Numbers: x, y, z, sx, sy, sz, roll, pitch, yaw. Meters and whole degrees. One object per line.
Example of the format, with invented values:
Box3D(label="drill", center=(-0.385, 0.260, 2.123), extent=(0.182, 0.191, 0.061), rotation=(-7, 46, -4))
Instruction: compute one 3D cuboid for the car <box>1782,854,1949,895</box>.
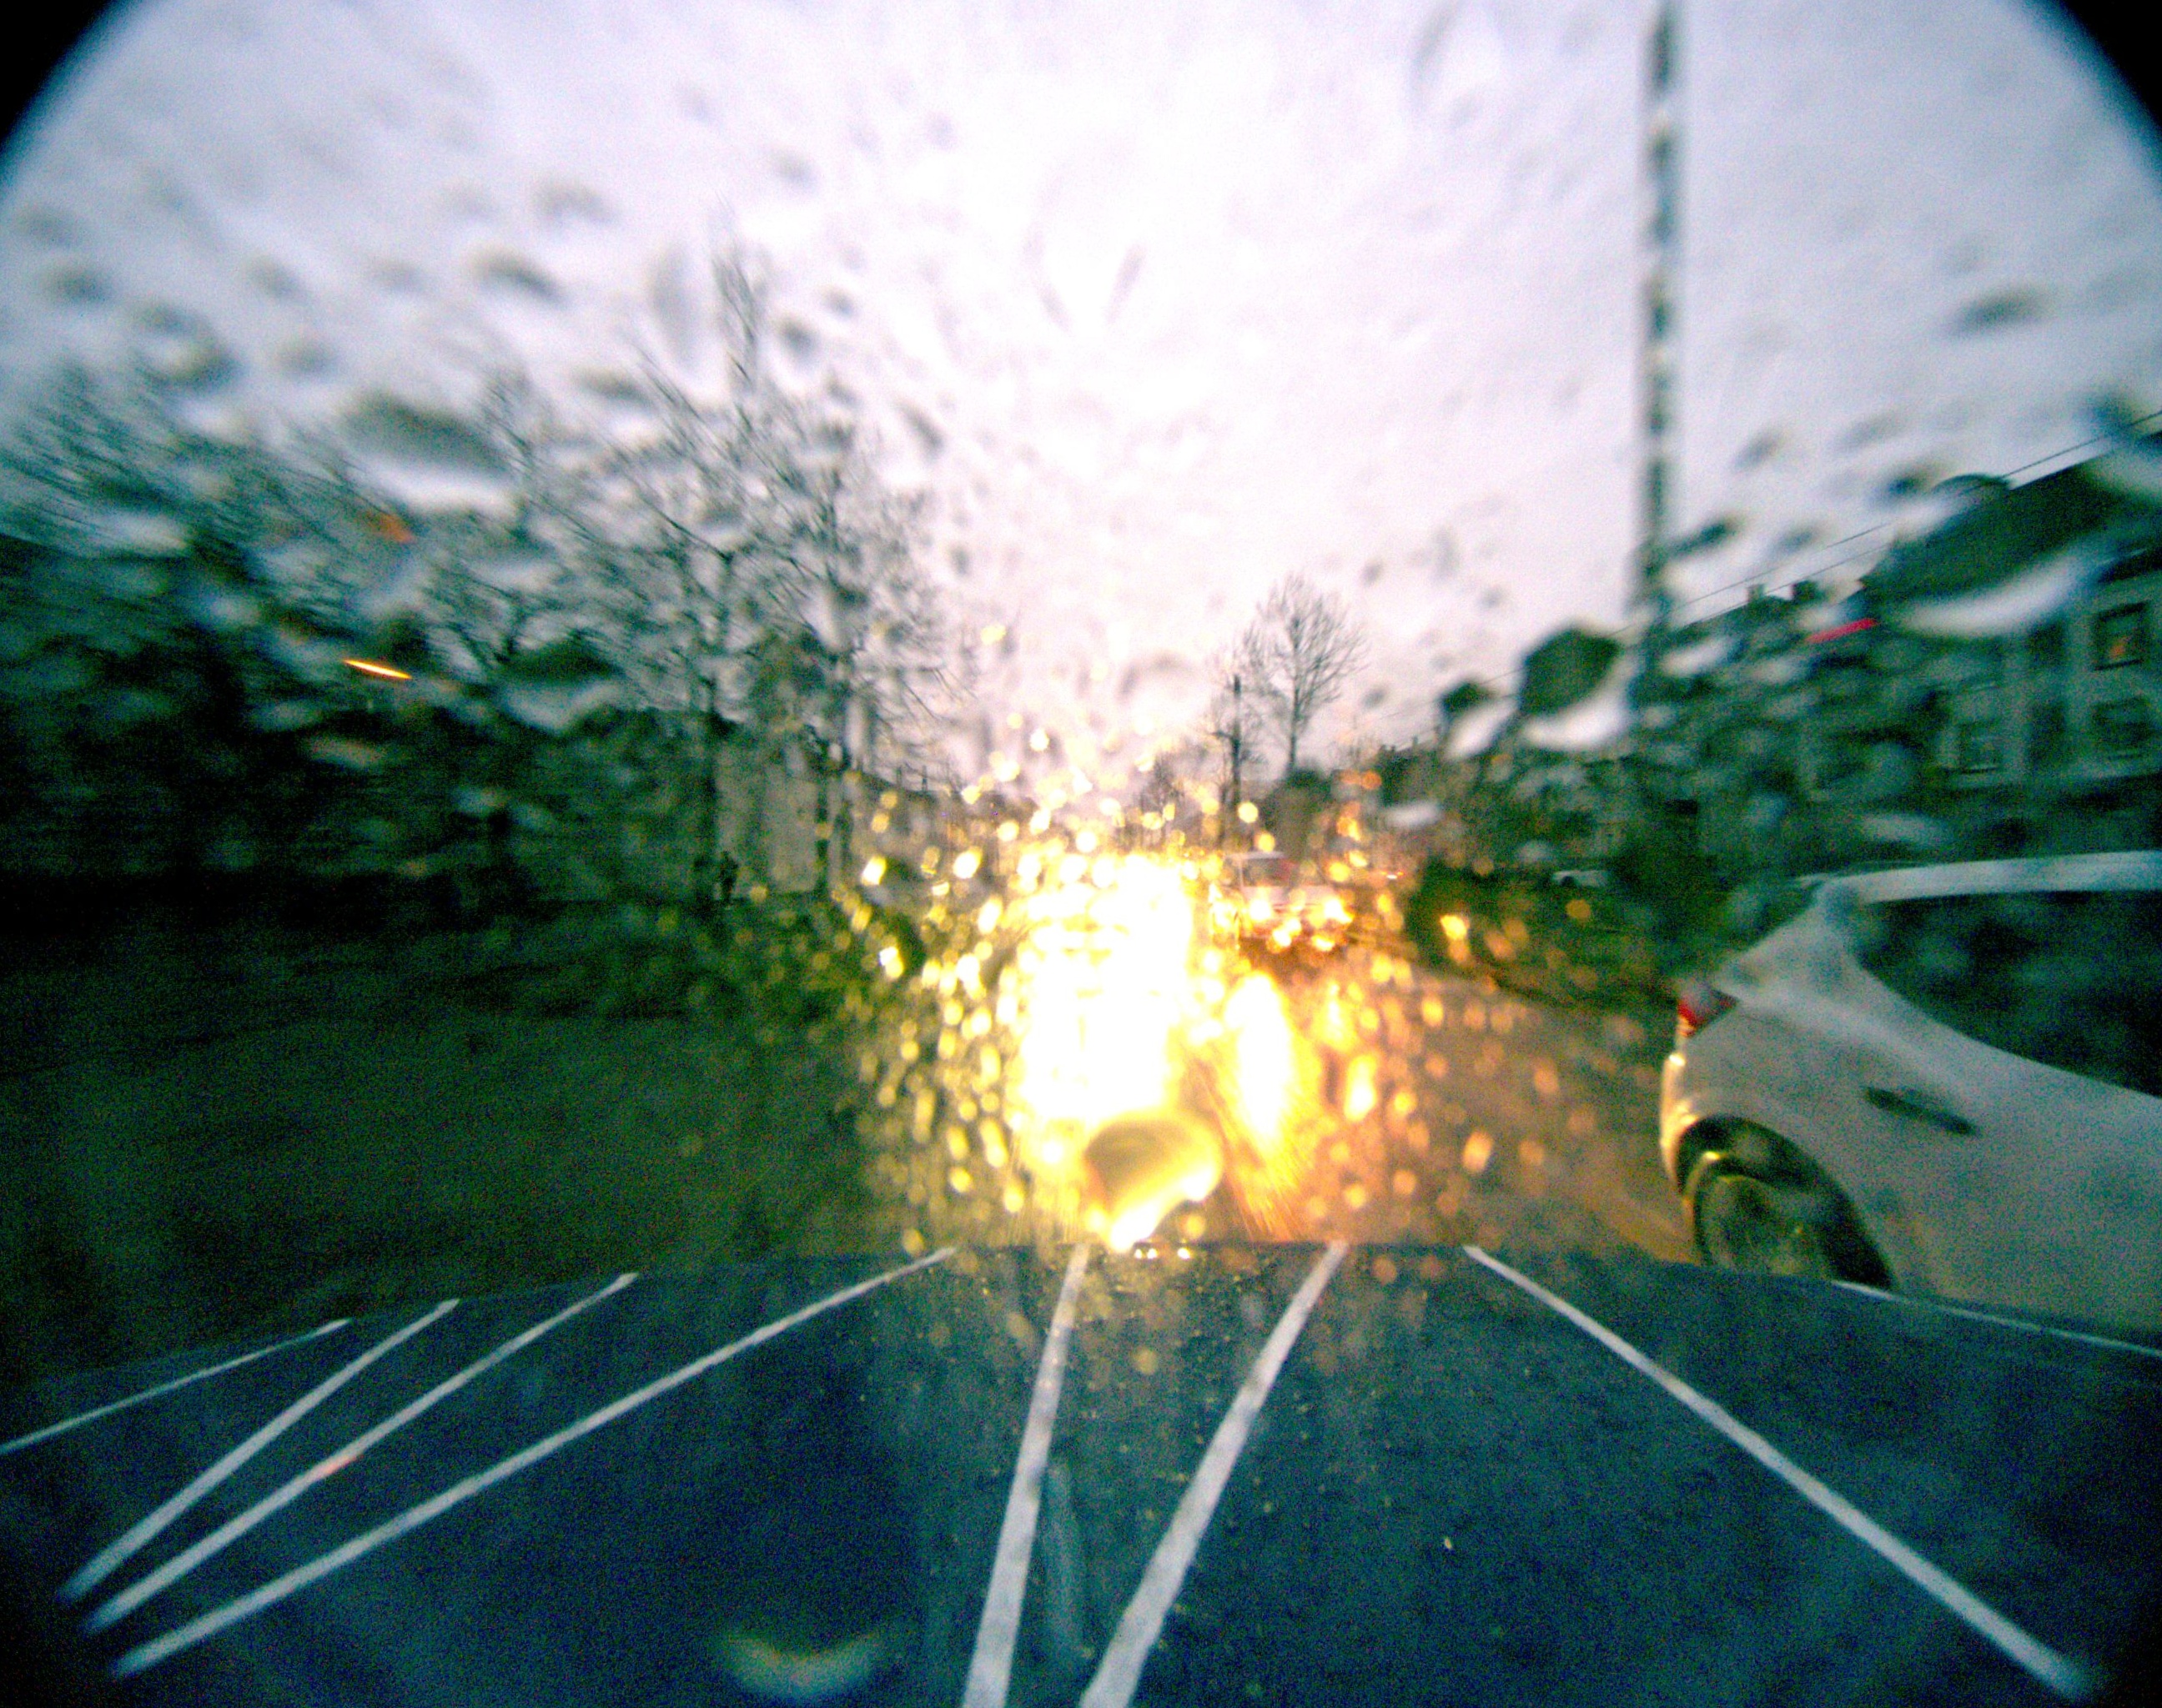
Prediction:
Box3D(label="car", center=(28.389, 0.758, 27.673), extent=(4.034, 1.223, 1.351), rotation=(-4, 1, 37))

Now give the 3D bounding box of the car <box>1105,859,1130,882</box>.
Box3D(label="car", center=(2.394, 1.064, 50.389), extent=(1.538, 1.347, 3.546), rotation=(-2, 0, 1))

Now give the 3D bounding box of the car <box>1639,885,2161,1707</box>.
Box3D(label="car", center=(2.745, 0.870, 0.582), extent=(1.692, 1.465, 4.001), rotation=(-2, 0, 1))

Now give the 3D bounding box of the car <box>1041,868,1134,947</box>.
Box3D(label="car", center=(0.143, 1.012, 15.844), extent=(1.669, 1.325, 3.787), rotation=(-2, 0, 1))

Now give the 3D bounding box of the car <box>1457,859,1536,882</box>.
Box3D(label="car", center=(29.163, 1.171, 53.383), extent=(4.651, 1.423, 1.697), rotation=(-2, 0, 37))

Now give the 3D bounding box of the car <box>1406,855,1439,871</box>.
Box3D(label="car", center=(31.186, 0.815, 69.495), extent=(1.468, 1.332, 3.911), rotation=(-2, 0, 3))

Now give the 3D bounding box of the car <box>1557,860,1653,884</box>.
Box3D(label="car", center=(29.729, 1.013, 43.162), extent=(4.254, 1.250, 1.837), rotation=(-2, 0, 41))

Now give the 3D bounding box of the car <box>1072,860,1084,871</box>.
Box3D(label="car", center=(-0.529, 1.941, 128.727), extent=(1.865, 1.732, 3.365), rotation=(-2, 0, 1))

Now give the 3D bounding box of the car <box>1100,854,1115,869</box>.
Box3D(label="car", center=(3.090, 0.855, 89.052), extent=(1.686, 1.669, 3.468), rotation=(-2, 0, 1))

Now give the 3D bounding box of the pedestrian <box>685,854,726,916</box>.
Box3D(label="pedestrian", center=(-10.009, 0.809, 20.275), extent=(0.673, 1.615, 0.615), rotation=(-2, 1, 16))

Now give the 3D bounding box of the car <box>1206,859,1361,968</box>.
Box3D(label="car", center=(3.304, 0.894, 13.163), extent=(1.638, 1.510, 3.907), rotation=(-2, 0, 1))

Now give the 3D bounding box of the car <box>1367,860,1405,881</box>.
Box3D(label="car", center=(24.120, 1.264, 60.240), extent=(1.549, 1.495, 3.784), rotation=(-2, 0, 2))

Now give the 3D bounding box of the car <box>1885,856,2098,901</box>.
Box3D(label="car", center=(28.865, 0.806, 24.317), extent=(4.095, 1.154, 1.715), rotation=(-4, 1, 40))

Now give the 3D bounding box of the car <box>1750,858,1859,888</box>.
Box3D(label="car", center=(28.944, 0.760, 30.529), extent=(2.912, 0.984, 1.798), rotation=(-4, 1, 36))

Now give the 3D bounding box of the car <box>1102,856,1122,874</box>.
Box3D(label="car", center=(3.016, 1.063, 73.947), extent=(1.802, 1.674, 3.805), rotation=(-2, 0, 1))

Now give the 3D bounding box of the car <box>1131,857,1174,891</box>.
Box3D(label="car", center=(3.405, 0.911, 36.624), extent=(1.905, 1.475, 3.656), rotation=(-2, 0, 4))

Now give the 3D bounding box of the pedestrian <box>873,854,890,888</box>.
Box3D(label="pedestrian", center=(-9.995, 0.842, 38.032), extent=(0.669, 1.646, 0.994), rotation=(0, 1, -4))

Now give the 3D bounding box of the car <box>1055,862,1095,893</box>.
Box3D(label="car", center=(-0.253, 1.088, 36.463), extent=(1.736, 1.311, 3.803), rotation=(-2, 0, 1))

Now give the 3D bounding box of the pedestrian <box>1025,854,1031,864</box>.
Box3D(label="pedestrian", center=(-8.364, 0.769, 120.667), extent=(0.814, 1.621, 0.883), rotation=(2, 1, 0))

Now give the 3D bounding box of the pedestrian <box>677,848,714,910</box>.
Box3D(label="pedestrian", center=(-11.348, 0.722, 22.372), extent=(0.673, 1.767, 0.615), rotation=(-2, 1, 14))

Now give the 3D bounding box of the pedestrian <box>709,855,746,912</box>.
Box3D(label="pedestrian", center=(-10.193, 0.831, 21.902), extent=(0.673, 1.603, 0.615), rotation=(-2, 1, 15))
